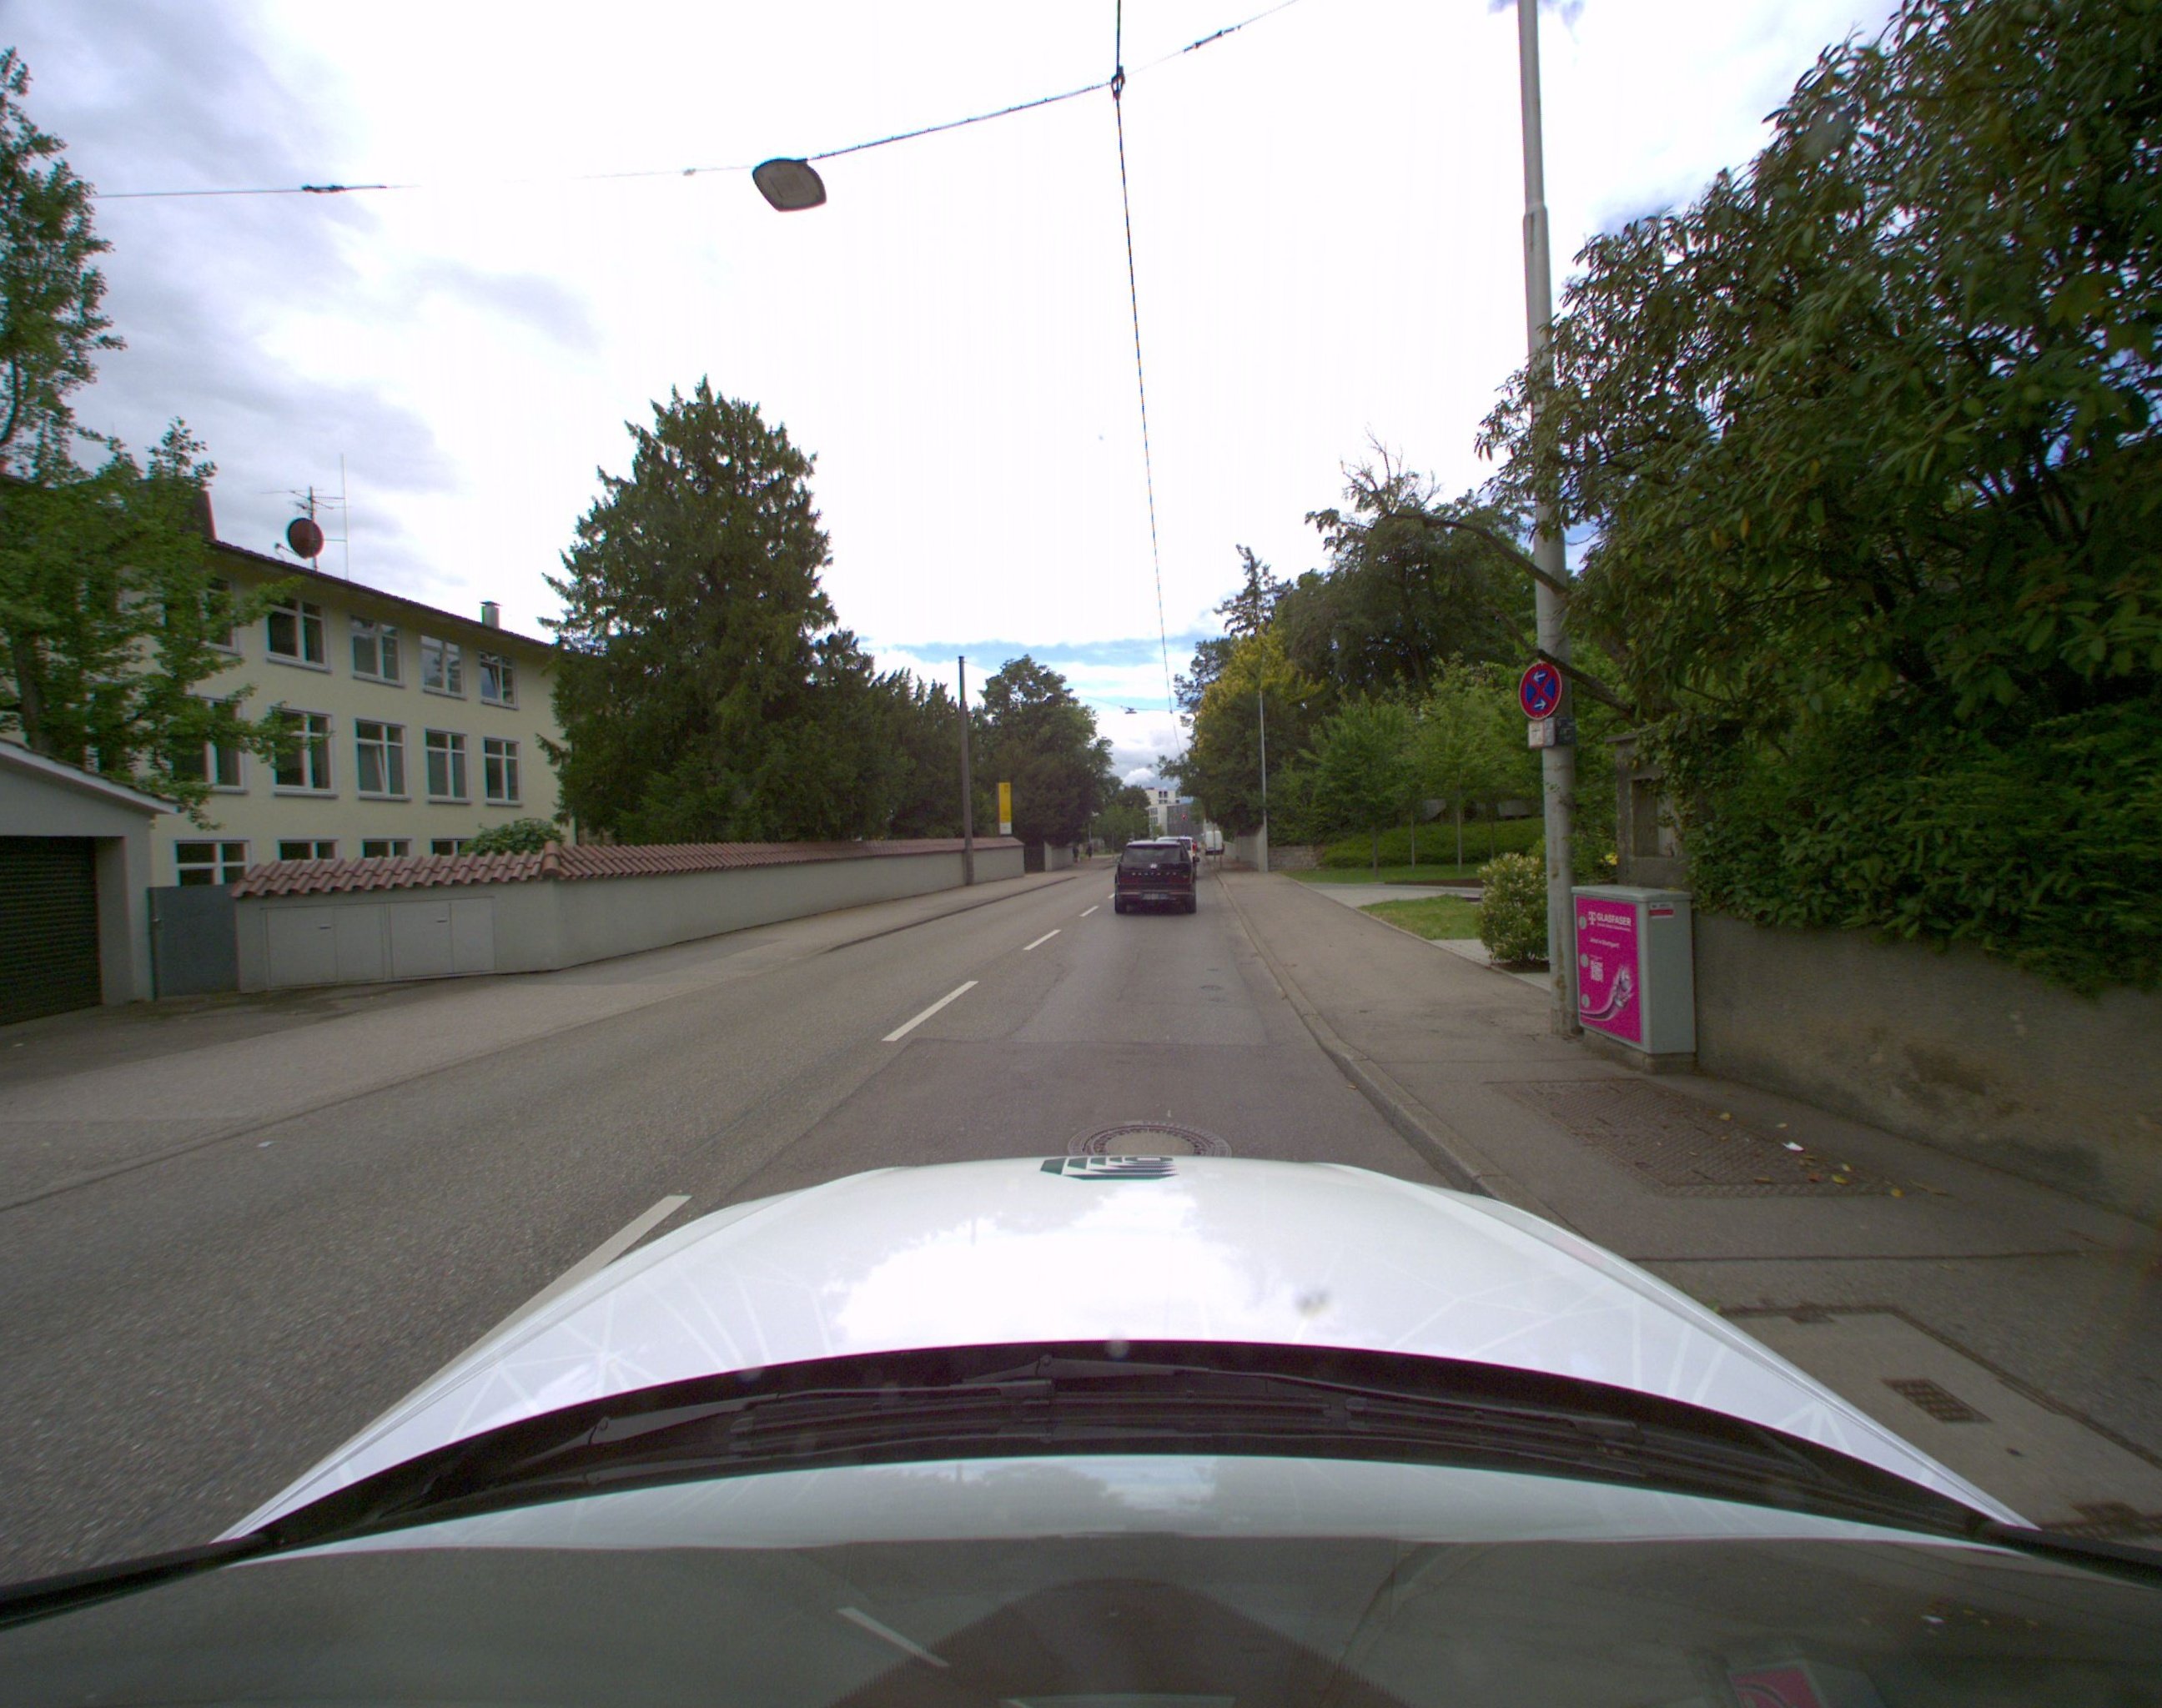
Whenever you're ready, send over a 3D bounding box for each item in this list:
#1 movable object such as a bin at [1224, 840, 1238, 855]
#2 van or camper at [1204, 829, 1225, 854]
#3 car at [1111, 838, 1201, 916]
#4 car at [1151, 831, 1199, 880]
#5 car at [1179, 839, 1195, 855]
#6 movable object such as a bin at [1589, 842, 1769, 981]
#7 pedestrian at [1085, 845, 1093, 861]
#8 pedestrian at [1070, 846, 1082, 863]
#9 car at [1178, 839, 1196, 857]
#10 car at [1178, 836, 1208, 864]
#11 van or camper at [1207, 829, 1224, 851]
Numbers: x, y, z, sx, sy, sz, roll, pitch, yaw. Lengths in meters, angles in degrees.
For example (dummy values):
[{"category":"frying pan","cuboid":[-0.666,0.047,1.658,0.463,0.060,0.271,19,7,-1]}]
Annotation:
[{"category":"movable object such as a bin","cuboid":[15.329,-0.708,83.459,1.292,1.450,1.183,-3,0,8]},{"category":"van or camper","cuboid":[15.084,-1.387,92.454,1.953,2.627,6.372,-4,0,7]},{"category":"car","cuboid":[1.848,0.483,20.059,1.954,1.711,4.006,-1,1,5]},{"category":"car","cuboid":[4.269,0.035,36.689,1.953,2.001,4.009,-3,0,7]},{"category":"car","cuboid":[13.823,-0.937,106.039,1.953,2.001,4.008,-3,0,7]},{"category":"movable object such as a bin","cuboid":[6.217,0.573,8.545,1.258,1.363,0.877,-1,0,8]},{"category":"pedestrian","cuboid":[0.808,-0.107,81.145,0.744,1.578,0.969,0,1,8]},{"category":"pedestrian","cuboid":[-0.449,0.041,73.597,0.921,1.560,0.903,1,-1,4]},{"category":"car","cuboid":[12.317,-0.652,94.533,1.953,2.001,4.008,-3,0,7]},{"category":"car","cuboid":[8.085,-0.303,58.969,1.953,1.902,4.008,-3,0,7]},{"category":"van or camper","cuboid":[18.311,-1.925,111.057,1.953,2.797,5.298,-4,1,7]}]
